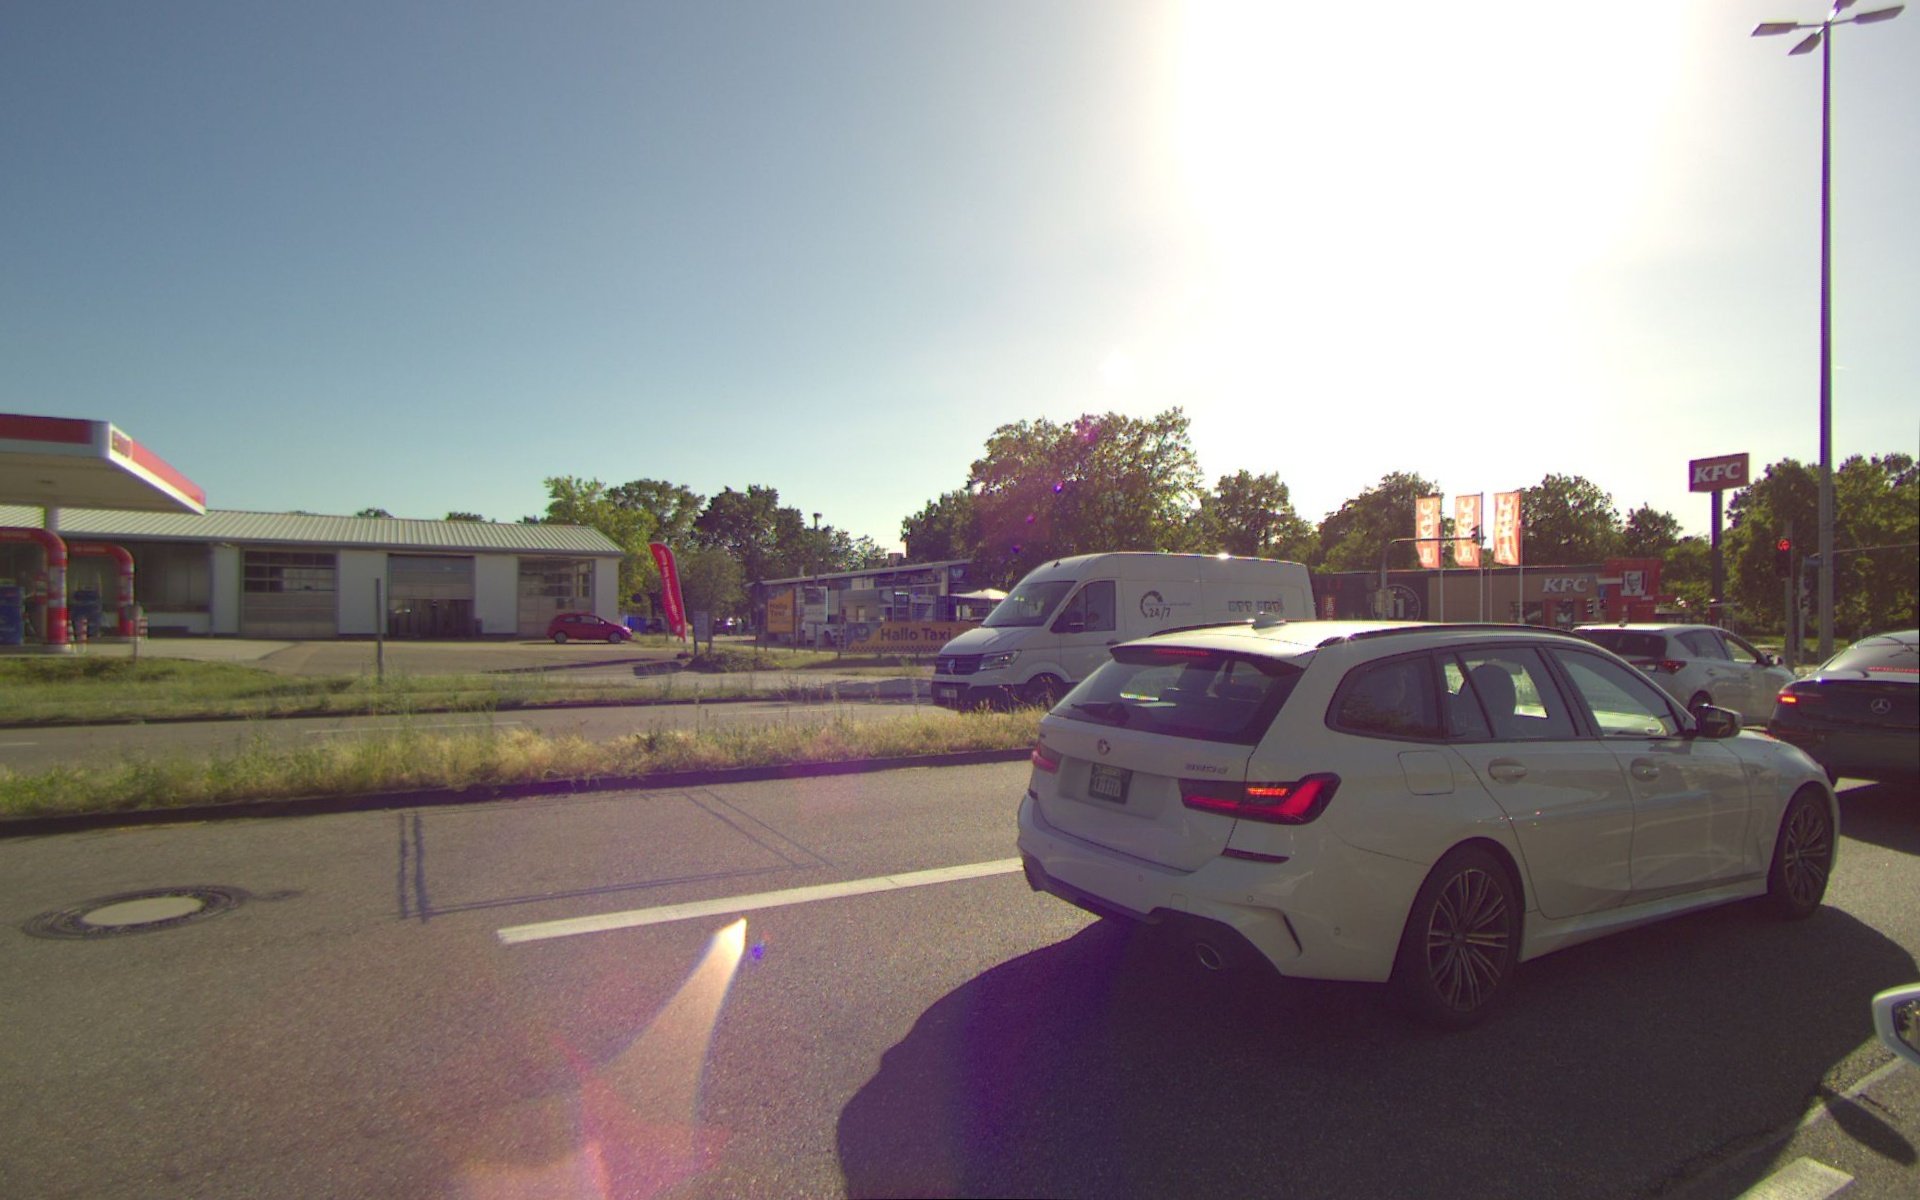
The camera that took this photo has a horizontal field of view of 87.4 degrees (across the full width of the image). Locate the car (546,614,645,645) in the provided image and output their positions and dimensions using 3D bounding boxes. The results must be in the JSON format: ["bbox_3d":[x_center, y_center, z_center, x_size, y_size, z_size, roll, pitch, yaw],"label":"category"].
[{"bbox_3d":[-17.984,1.446,49.569,4.486,1.458,1.741,1,-1,-26],"label":"car"}]

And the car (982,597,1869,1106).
[{"bbox_3d":[2.438,0.801,4.912,4.409,1.529,1.760,1,-1,-30],"label":"car"}]

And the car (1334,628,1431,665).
[{"bbox_3d":[20.467,2.223,48.806,1.806,1.616,4.011,1,-1,-35],"label":"car"}]

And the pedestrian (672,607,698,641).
[{"bbox_3d":[-14.904,1.295,54.370,1.087,1.787,1.150,1,-1,-31],"label":"pedestrian"}]

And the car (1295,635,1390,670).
[{"bbox_3d":[17.751,2.414,46.789,1.801,1.448,4.022,1,-1,-27],"label":"car"}]

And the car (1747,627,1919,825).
[{"bbox_3d":[8.817,0.968,8.632,4.409,1.433,1.760,1,-1,-30],"label":"car"}]

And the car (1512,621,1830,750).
[{"bbox_3d":[9.513,1.032,13.369,4.352,1.448,1.848,1,-1,-30],"label":"car"}]

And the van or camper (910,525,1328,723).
[{"bbox_3d":[2.652,0.433,15.827,6.675,2.606,2.168,1,-3,-31],"label":"van or camper"}]

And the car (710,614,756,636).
[{"bbox_3d":[-19.933,2.174,88.196,2.085,1.840,4.000,0,-1,20],"label":"car"}]
